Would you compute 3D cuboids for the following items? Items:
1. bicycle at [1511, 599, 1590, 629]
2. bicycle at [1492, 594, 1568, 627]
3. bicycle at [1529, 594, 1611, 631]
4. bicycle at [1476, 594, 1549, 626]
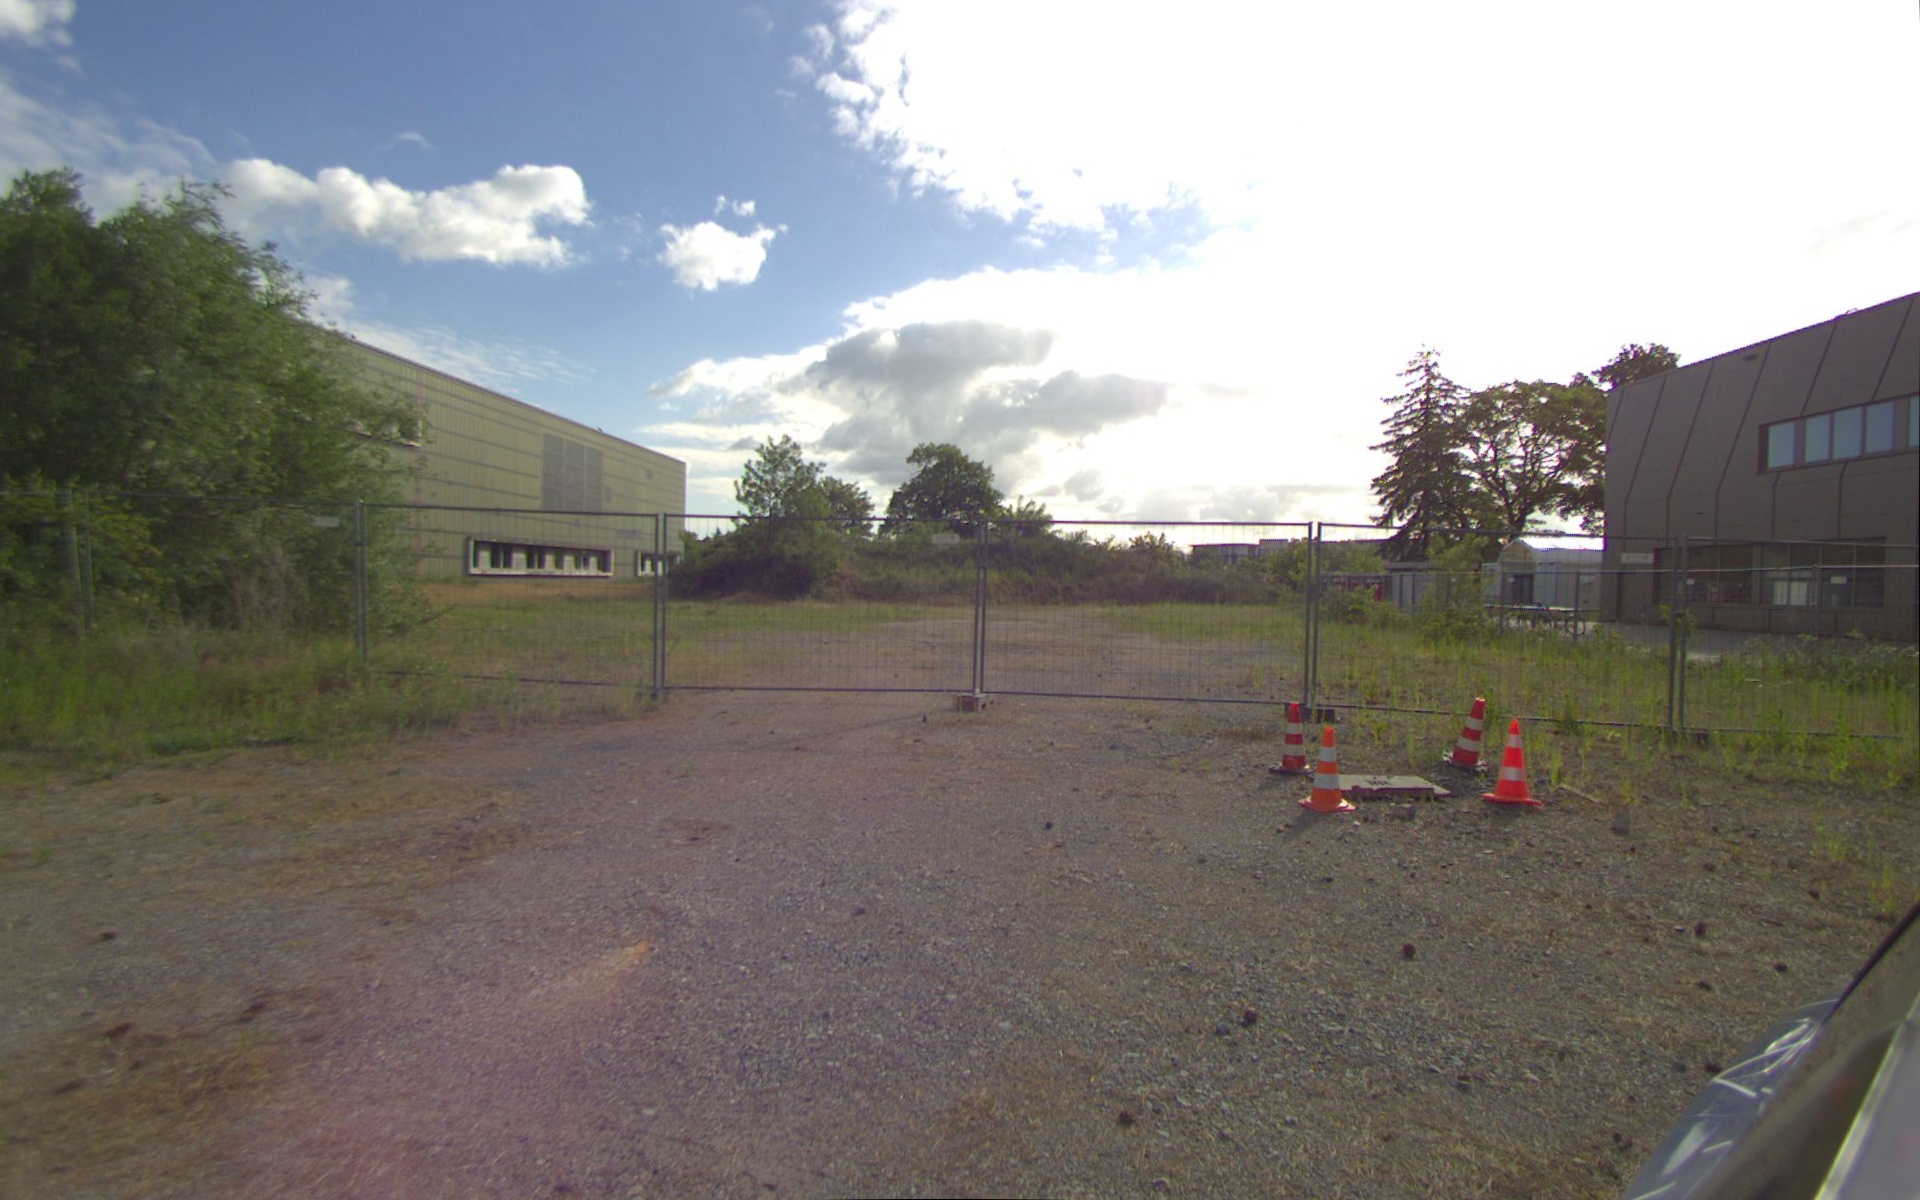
[{"bbox_3d":[19.677,0.452,33.749,2.031,0.933,0.946,1,1,1],"label":"bicycle"},{"bbox_3d":[19.562,0.360,34.762,2.031,1.057,0.946,1,1,1],"label":"bicycle"},{"bbox_3d":[19.573,0.398,32.500,2.031,1.100,0.946,1,1,1],"label":"bicycle"},{"bbox_3d":[19.588,0.355,35.882,2.031,1.057,0.946,1,1,1],"label":"bicycle"}]
